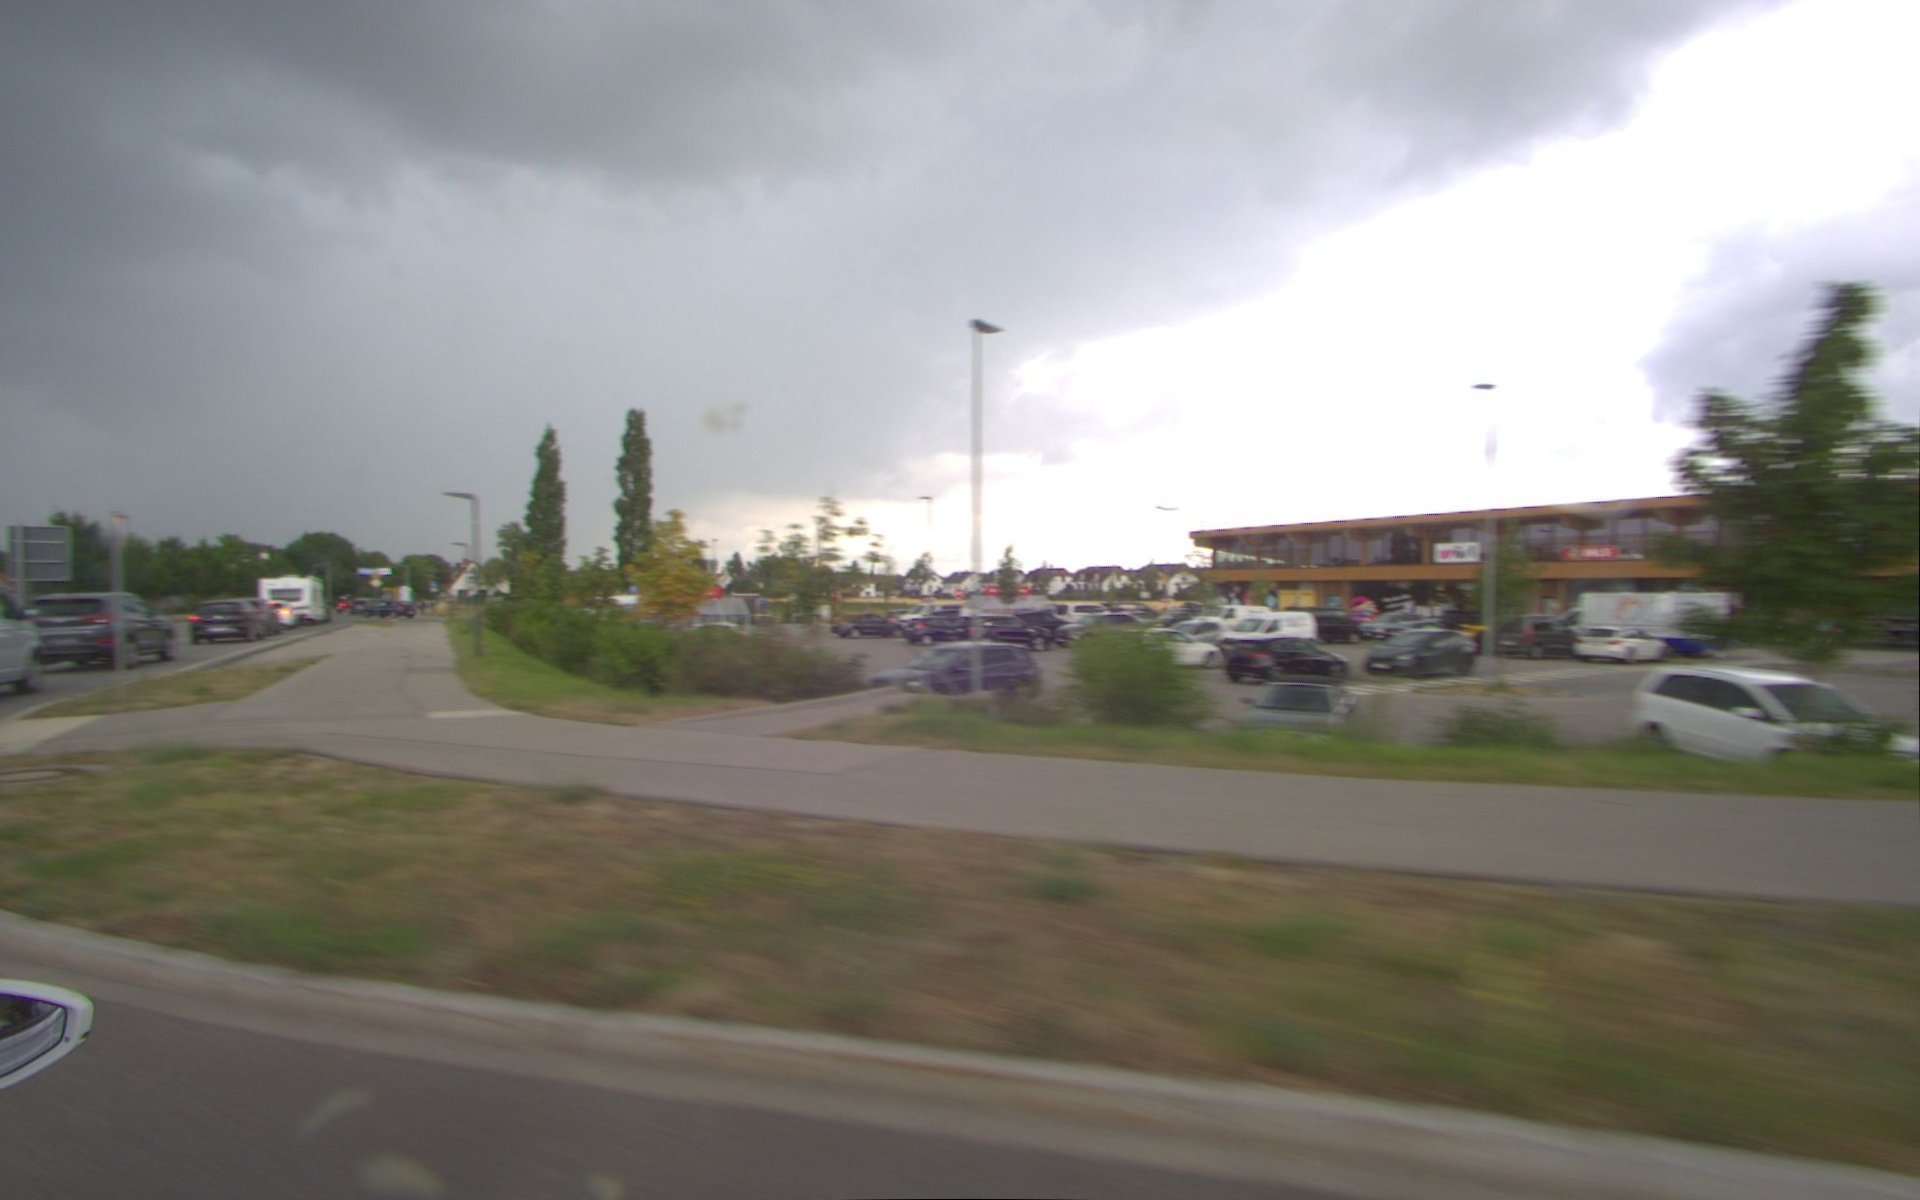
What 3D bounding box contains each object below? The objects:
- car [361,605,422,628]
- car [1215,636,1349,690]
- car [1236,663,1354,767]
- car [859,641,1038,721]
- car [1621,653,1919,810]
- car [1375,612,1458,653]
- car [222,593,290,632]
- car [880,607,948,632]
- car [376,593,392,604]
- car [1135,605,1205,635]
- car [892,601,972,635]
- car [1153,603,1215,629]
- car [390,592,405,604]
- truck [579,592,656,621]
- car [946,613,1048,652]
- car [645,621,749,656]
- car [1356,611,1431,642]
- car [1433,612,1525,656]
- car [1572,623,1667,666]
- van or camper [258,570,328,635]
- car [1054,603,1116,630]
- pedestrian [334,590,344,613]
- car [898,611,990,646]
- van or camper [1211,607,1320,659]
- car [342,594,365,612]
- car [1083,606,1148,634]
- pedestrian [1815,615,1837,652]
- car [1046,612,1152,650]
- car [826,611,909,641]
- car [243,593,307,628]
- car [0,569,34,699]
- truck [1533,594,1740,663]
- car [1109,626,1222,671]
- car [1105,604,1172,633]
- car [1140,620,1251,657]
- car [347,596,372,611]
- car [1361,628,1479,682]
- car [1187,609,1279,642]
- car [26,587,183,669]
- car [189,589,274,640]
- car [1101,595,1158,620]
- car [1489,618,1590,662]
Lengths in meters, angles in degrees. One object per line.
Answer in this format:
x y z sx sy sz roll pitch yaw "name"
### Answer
-45.152 1.277 79.537 3.922 1.817 1.618 0 0 2 "car"
9.836 1.871 30.525 3.945 1.417 1.825 0 1 -33 "car"
5.932 1.899 17.492 1.555 1.390 3.721 1 0 25 "car"
-0.225 1.831 23.580 3.951 1.628 1.778 0 0 -37 "car"
12.922 1.920 15.926 1.765 1.696 4.441 -1 3 -1 "car"
21.873 1.516 47.923 3.946 1.879 1.762 0 0 -33 "car"
-28.070 0.484 40.036 1.756 1.453 3.783 -1 0 -29 "car"
-3.121 1.283 67.514 4.259 1.599 1.760 0 0 -26 "car"
-79.961 -0.221 138.984 1.824 1.455 3.981 1 0 -28 "car"
13.238 1.224 63.200 3.936 1.862 1.993 0 1 -24 "car"
-1.820 1.156 65.391 5.064 2.041 1.983 -1 2 -38 "car"
15.943 1.128 71.191 3.937 1.795 1.992 0 1 -26 "car"
-102.700 -0.382 182.887 1.968 2.241 3.986 0 1 -23 "car"
-23.504 0.467 68.771 4.746 1.897 1.988 0 0 -32 "truck"
1.727 1.482 46.228 4.399 1.728 1.795 1 0 -28 "car"
-11.832 1.696 45.067 4.182 1.459 1.991 0 0 -28 "car"
23.924 1.459 55.225 4.167 1.633 1.757 0 0 -31 "car"
23.428 1.508 45.189 3.940 1.879 1.764 0 0 -28 "car"
26.060 1.714 39.554 3.947 1.550 1.720 0 1 -34 "car"
-37.222 0.172 56.083 2.594 3.367 6.790 0 0 -28 "van or camper"
8.829 1.162 70.738 3.936 1.862 1.992 0 0 -25 "car"
-57.486 0.145 92.673 0.571 2.040 0.679 2 0 -22 "pedestrian"
-0.803 1.465 51.797 4.352 1.687 1.990 0 1 -28 "car"
12.965 1.357 42.429 4.739 2.126 1.755 0 0 -32 "van or camper"
-67.271 0.332 111.166 1.970 1.924 3.981 1 0 -28 "car"
10.624 1.324 68.446 3.936 1.862 1.993 0 0 -24 "car"
40.544 1.543 46.895 0.742 1.680 0.798 1 1 41 "pedestrian"
6.826 1.476 49.089 4.916 1.687 1.990 0 1 -28 "car"
-5.449 1.516 59.234 4.503 1.687 1.990 0 1 -28 "car"
-33.073 0.491 48.449 1.969 1.617 3.984 0 -1 -26 "car"
-14.931 0.499 14.063 1.845 1.959 3.982 0 0 -28 "car"
30.493 1.175 45.480 2.936 2.845 7.213 0 1 -32 "truck"
7.430 1.711 36.037 3.942 1.504 1.673 1 0 -32 "car"
11.729 1.185 65.873 3.937 1.862 1.992 0 0 -25 "car"
10.421 1.665 44.237 4.717 1.504 1.895 0 0 -28 "car"
-57.991 0.345 96.772 1.824 1.455 3.981 1 0 -28 "car"
15.246 1.768 33.141 3.947 1.574 1.720 0 1 -33 "car"
15.743 1.448 57.660 5.224 1.855 1.991 0 0 -28 "car"
-18.885 0.583 22.297 1.755 1.639 3.982 0 -1 -27 "car"
-24.879 0.472 34.316 1.755 1.639 3.981 -1 0 -28 "car"
13.041 0.571 76.967 3.936 1.865 1.868 0 1 -24 "car"
24.259 1.628 41.917 4.060 1.747 1.843 1 -1 -29 "car"
